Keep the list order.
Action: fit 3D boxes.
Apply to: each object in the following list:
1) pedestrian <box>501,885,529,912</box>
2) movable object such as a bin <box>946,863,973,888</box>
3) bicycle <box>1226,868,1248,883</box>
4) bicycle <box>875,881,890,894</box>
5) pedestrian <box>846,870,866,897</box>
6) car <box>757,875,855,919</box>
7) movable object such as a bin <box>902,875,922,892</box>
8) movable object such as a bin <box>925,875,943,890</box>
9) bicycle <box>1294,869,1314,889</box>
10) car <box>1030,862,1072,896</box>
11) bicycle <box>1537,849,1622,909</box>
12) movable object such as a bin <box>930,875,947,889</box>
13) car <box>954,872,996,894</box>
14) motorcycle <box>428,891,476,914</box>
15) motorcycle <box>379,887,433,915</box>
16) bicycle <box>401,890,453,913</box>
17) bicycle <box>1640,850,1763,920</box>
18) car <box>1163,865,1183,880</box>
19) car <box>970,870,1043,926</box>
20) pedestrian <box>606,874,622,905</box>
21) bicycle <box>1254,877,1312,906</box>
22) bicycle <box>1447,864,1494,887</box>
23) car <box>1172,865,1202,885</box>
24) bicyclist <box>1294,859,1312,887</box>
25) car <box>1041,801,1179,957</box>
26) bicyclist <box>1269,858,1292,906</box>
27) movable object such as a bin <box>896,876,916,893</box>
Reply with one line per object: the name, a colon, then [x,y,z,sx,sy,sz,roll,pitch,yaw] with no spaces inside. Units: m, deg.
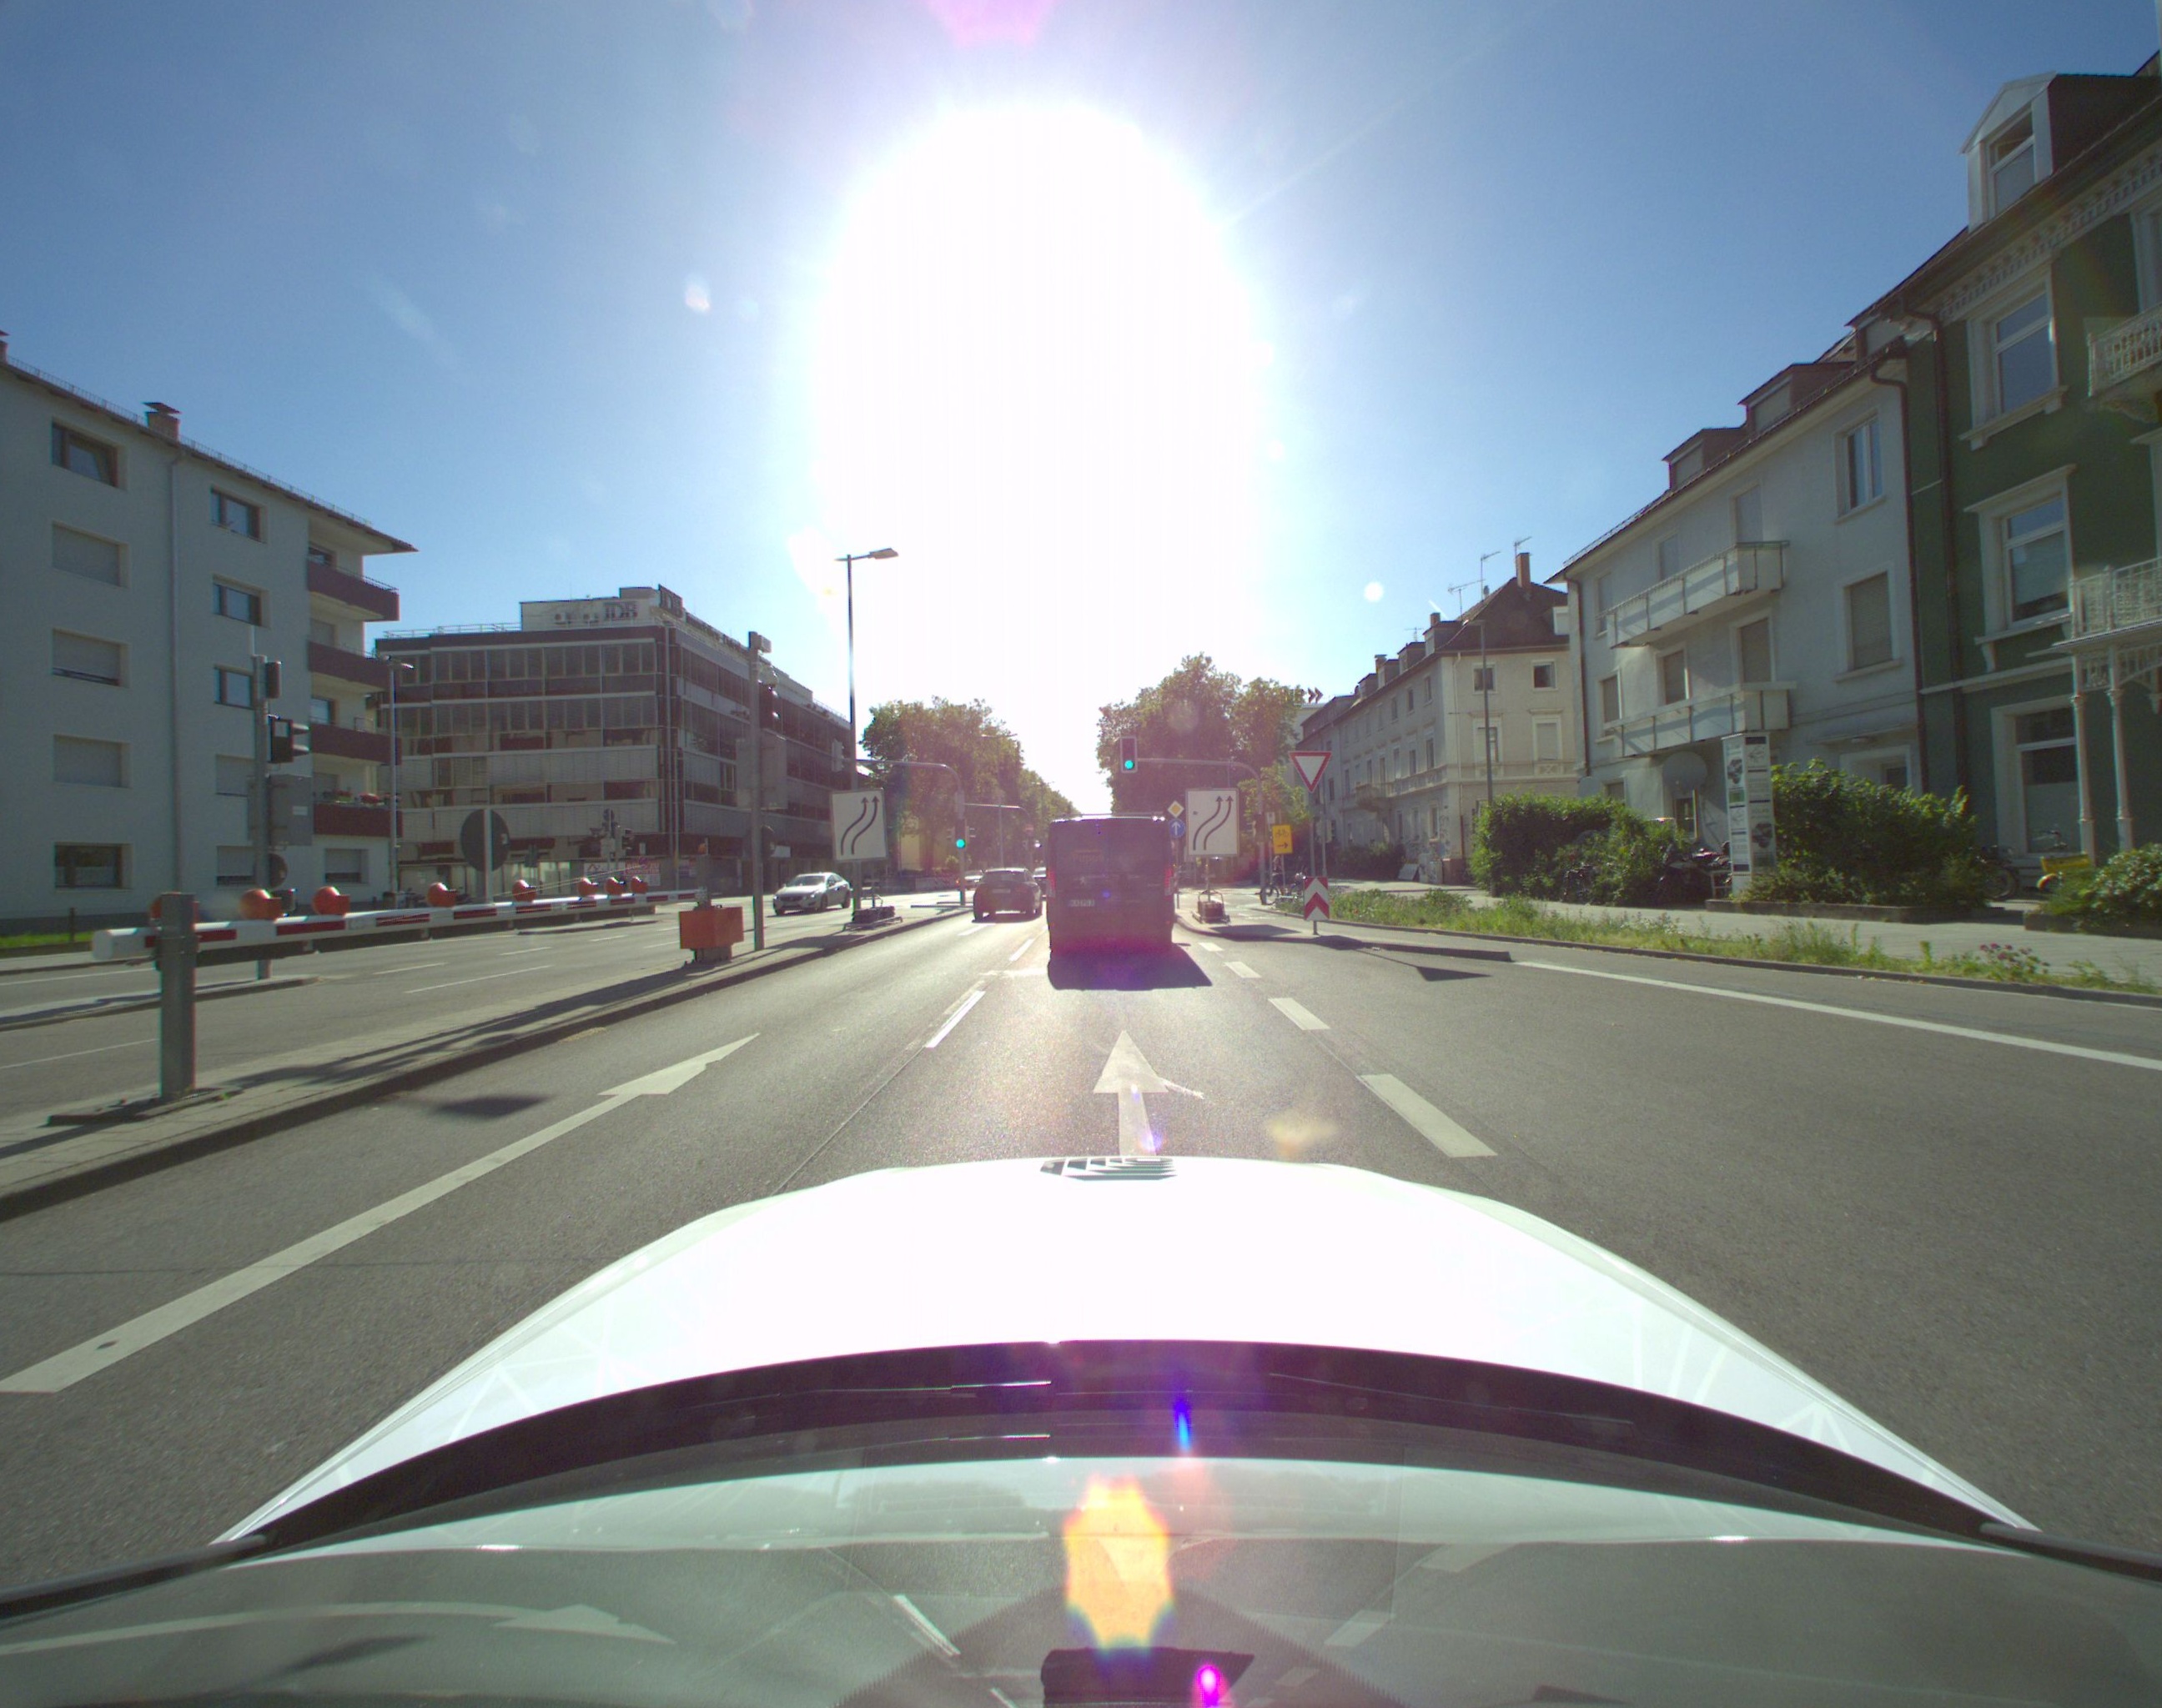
pedestrian: [-25.326,1.996,36.446,0.717,1.153,0.786,-1,-1,-10]
movable object such as a bin: [-13.494,2.353,90.773,2.140,2.706,5.353,-1,-1,0]
bicycle: [11.052,1.513,57.727,0.581,1.005,2.145,-2,-1,37]
bicycle: [-15.952,2.673,65.398,0.624,1.037,1.881,-1,-1,4]
pedestrian: [-14.766,1.930,53.495,0.859,1.711,1.015,-2,-1,9]
car: [-10.377,1.580,31.152,1.985,1.453,4.394,1,0,4]
movable object such as a bin: [-14.585,2.529,70.233,1.209,1.388,1.857,-1,-1,4]
movable object such as a bin: [-13.904,2.671,77.224,1.403,1.338,1.158,-1,-1,4]
bicycle: [12.559,1.396,45.841,0.682,1.098,1.697,-2,-1,30]
car: [-1.328,1.117,37.808,1.740,1.407,4.001,0,0,1]
bicycle: [12.773,0.609,20.975,0.705,1.443,2.492,0,0,1]
movable object such as a bin: [-13.663,2.673,78.304,1.403,1.338,0.937,-1,-1,4]
car: [-7.360,2.019,56.973,1.921,1.345,4.323,-2,-1,6]
motorcycle: [-28.227,2.150,36.592,0.500,0.936,1.847,-1,-1,10]
motorcycle: [-29.368,2.044,35.468,0.607,1.142,1.789,-1,-1,11]
bicycle: [-29.837,2.154,37.178,0.502,0.978,1.894,-2,-1,19]
bicycle: [13.969,0.693,18.368,2.247,1.485,0.638,-2,-1,0]
car: [9.671,1.966,85.747,1.756,1.508,4.253,-1,-1,2]
car: [-2.130,1.237,24.255,1.740,1.407,4.001,0,0,1]
pedestrian: [-25.896,1.950,45.195,0.702,1.658,0.739,-1,-1,-28]
bicycle: [7.316,1.344,29.550,1.955,1.025,0.605,0,0,1]
bicycle: [19.198,1.044,40.119,1.987,1.080,0.579,-1,-1,4]
car: [8.629,1.703,66.535,1.845,1.479,4.942,-1,-1,1]
bicyclist: [12.497,1.060,45.745,0.717,1.499,0.876,-2,-1,31]
car: [0.503,0.397,14.422,2.087,2.355,3.934,-1,-1,2]
bicyclist: [7.256,0.995,29.612,0.601,1.708,0.859,-2,-1,2]
movable object such as a bin: [-14.599,2.520,67.895,1.109,1.388,1.857,-1,-1,4]
